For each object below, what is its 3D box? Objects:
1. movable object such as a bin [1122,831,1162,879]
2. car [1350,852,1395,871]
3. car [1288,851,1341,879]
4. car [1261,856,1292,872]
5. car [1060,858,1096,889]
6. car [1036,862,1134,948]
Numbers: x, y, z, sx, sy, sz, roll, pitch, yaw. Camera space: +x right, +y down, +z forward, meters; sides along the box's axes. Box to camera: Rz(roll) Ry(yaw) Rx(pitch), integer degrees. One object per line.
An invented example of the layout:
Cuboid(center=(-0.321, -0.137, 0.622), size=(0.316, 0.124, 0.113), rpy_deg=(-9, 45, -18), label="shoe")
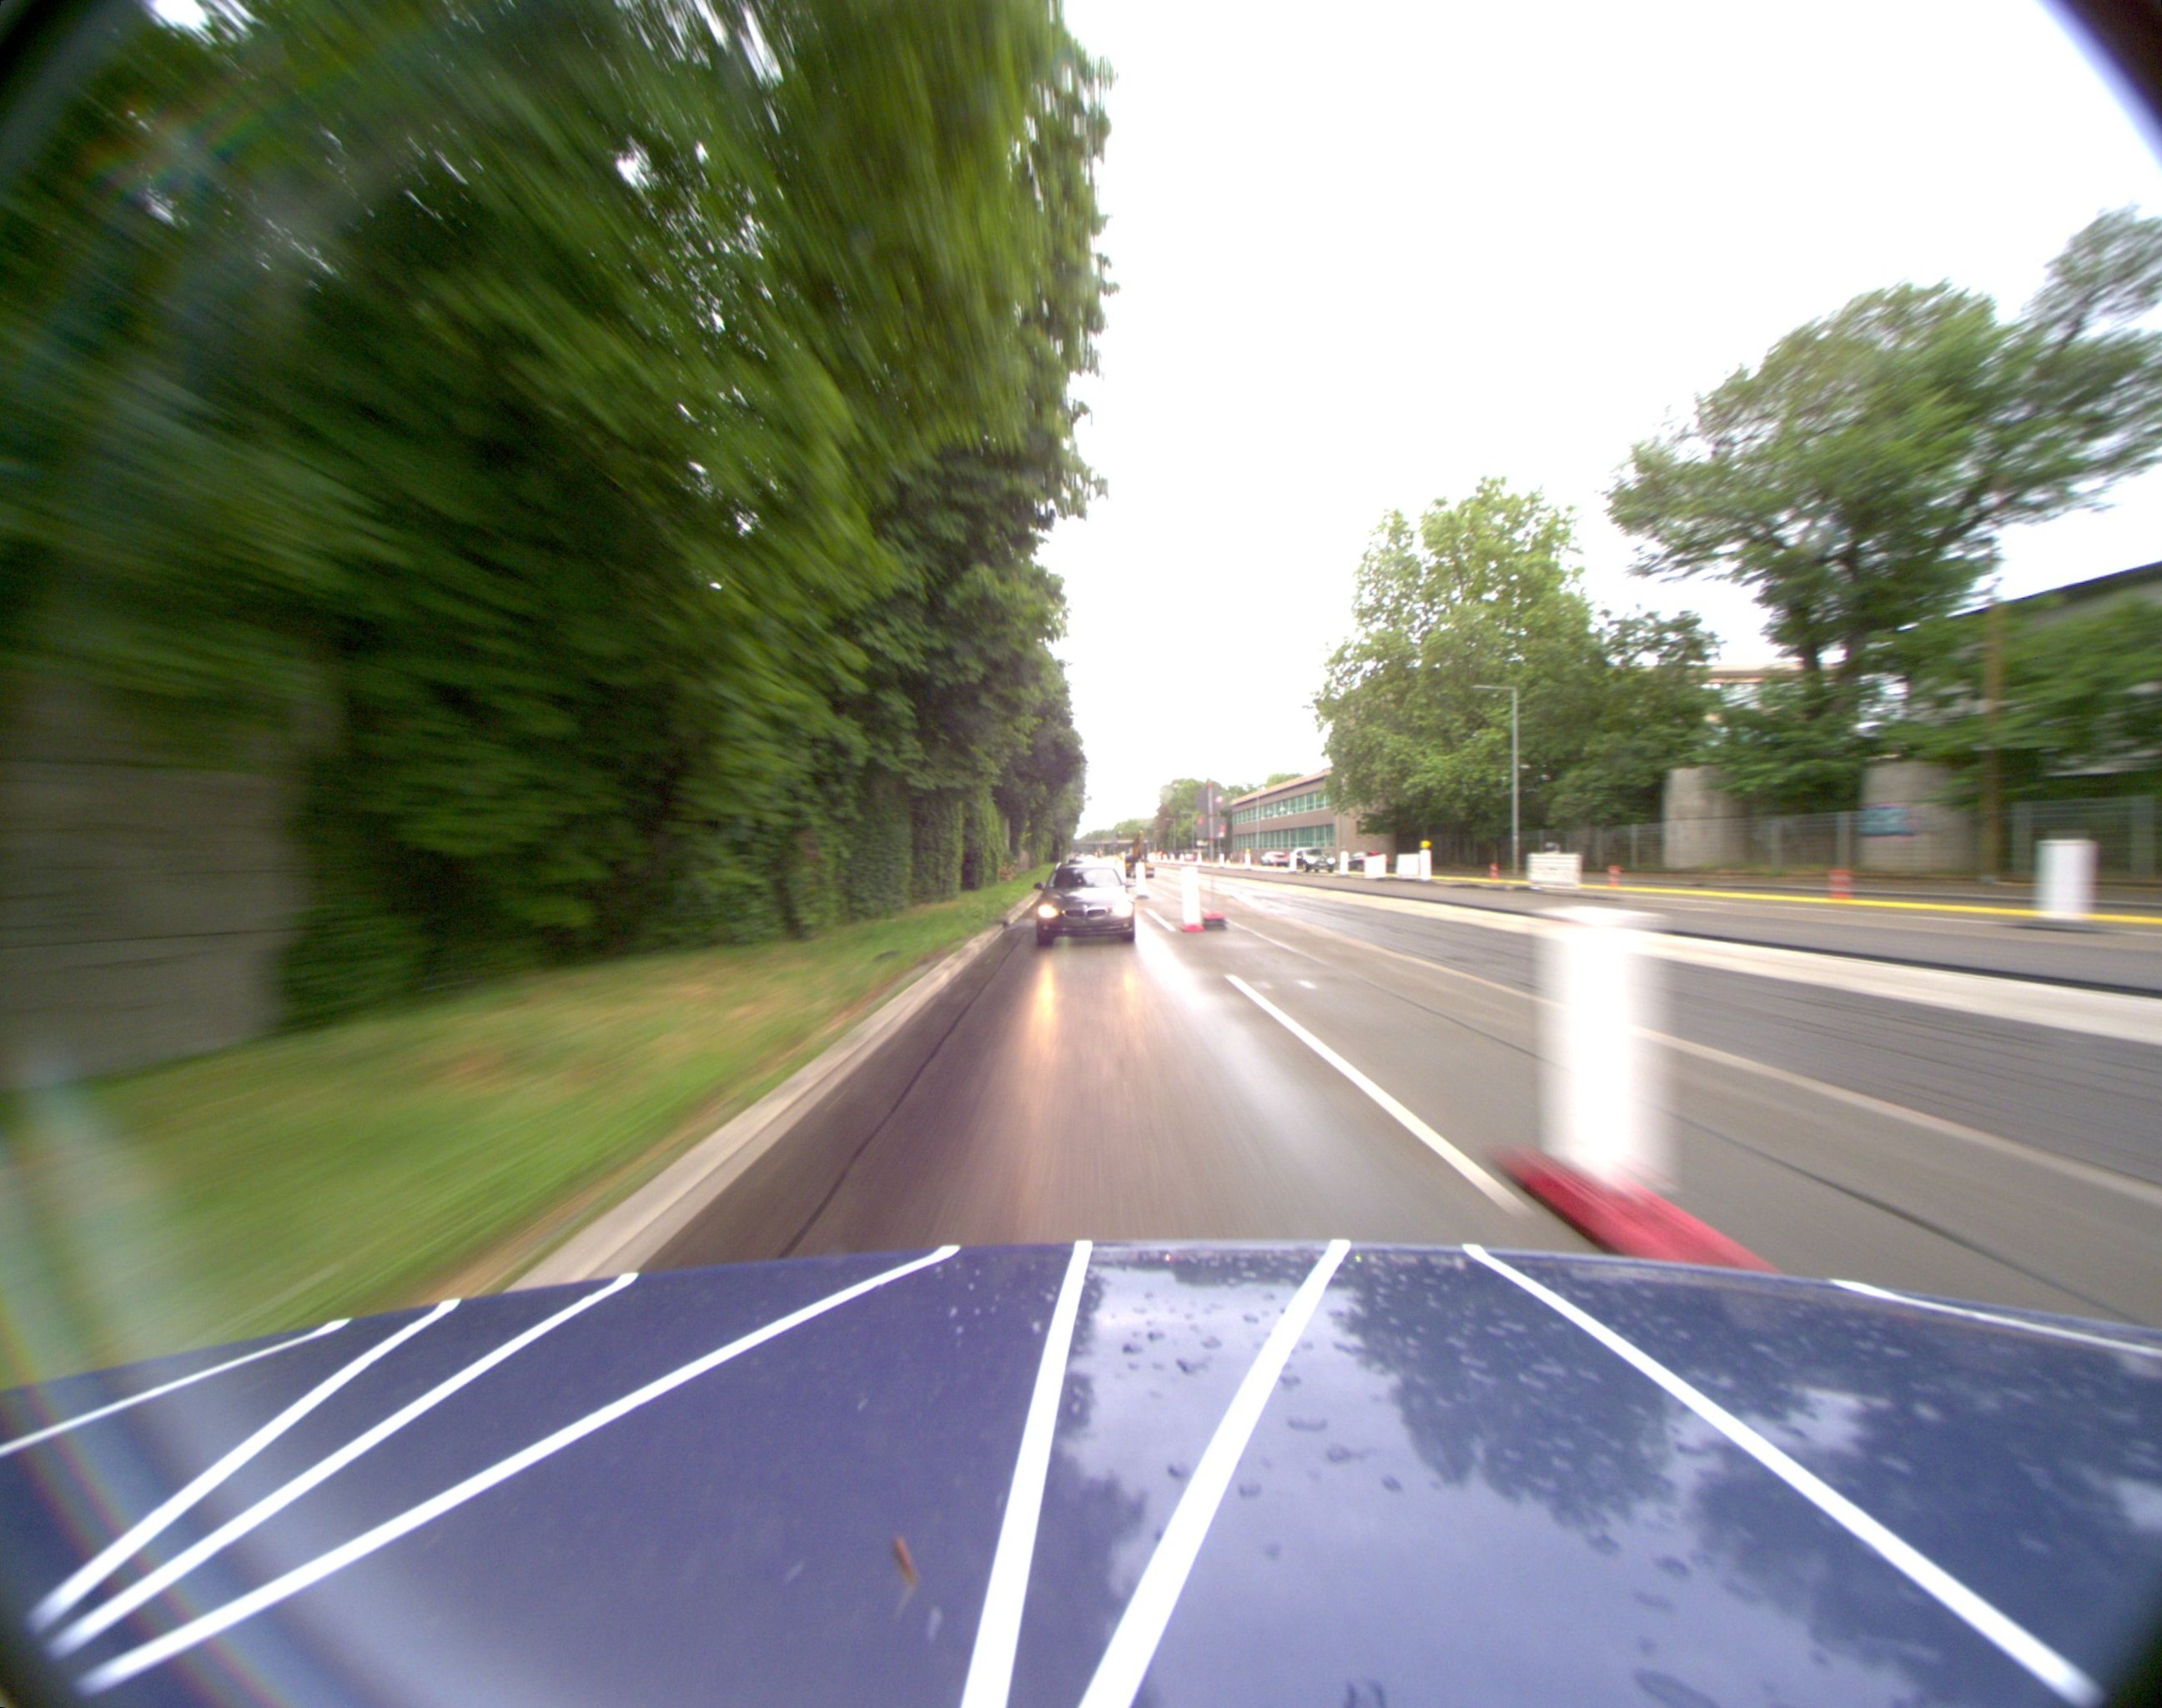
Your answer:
Cuboid(center=(4.115, 0.027, 52.302), size=(1.999, 3.084, 5.622), rpy_deg=(-1, 0, -3), label="movable object such as a bin")
Cuboid(center=(21.497, 0.542, 56.165), size=(1.710, 1.374, 4.169), rpy_deg=(0, 0, 0), label="car")
Cuboid(center=(15.454, 0.738, 50.607), size=(1.998, 1.695, 4.985), rpy_deg=(3, -1, 1), label="car")
Cuboid(center=(18.684, 0.934, 72.731), size=(1.841, 1.426, 4.148), rpy_deg=(-1, 0, 0), label="car")
Cuboid(center=(-0.120, 0.972, 39.718), size=(1.742, 1.454, 4.458), rpy_deg=(-1, 0, 0), label="car")
Cuboid(center=(-0.035, 0.957, 16.054), size=(1.743, 1.454, 4.457), rpy_deg=(-1, 0, -3), label="car")
